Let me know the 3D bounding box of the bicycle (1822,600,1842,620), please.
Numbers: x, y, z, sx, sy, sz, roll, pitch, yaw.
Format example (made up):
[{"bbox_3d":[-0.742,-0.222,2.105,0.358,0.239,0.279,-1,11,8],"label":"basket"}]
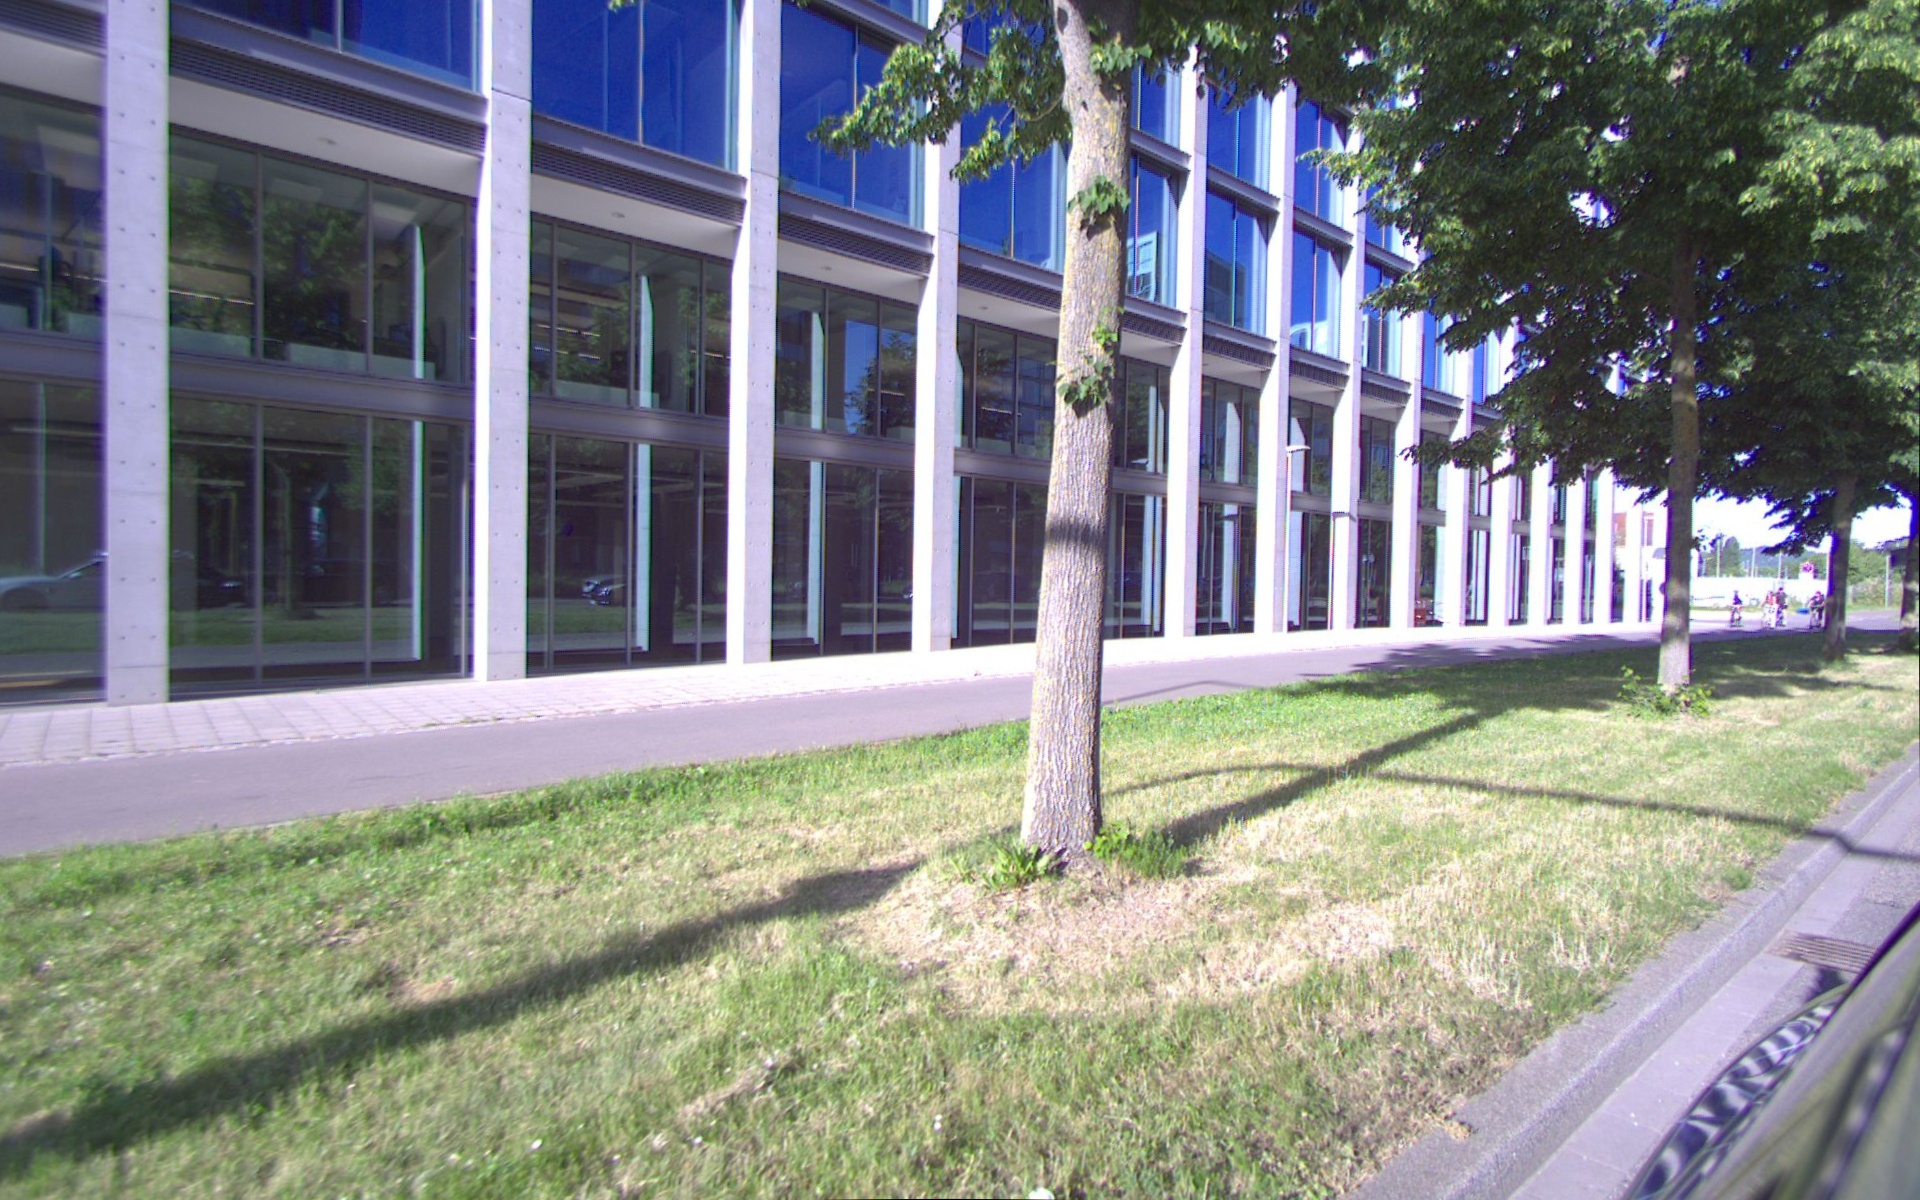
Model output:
[{"bbox_3d":[38.171,0.440,44.309,1.321,0.828,0.464,-1,1,-40],"label":"bicycle"}]

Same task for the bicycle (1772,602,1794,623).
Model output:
[{"bbox_3d":[33.891,0.502,41.689,1.321,0.828,0.464,-1,1,-40],"label":"bicycle"}]

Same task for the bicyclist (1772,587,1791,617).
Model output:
[{"bbox_3d":[33.855,0.071,41.696,0.498,1.232,0.534,-1,1,-40],"label":"bicyclist"}]

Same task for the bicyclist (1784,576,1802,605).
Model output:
[{"bbox_3d":[37.395,-0.421,45.436,0.449,1.305,0.534,-1,1,-40],"label":"bicyclist"}]

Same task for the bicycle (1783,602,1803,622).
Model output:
[{"bbox_3d":[37.342,0.532,45.348,1.321,0.828,0.464,-1,1,-40],"label":"bicycle"}]

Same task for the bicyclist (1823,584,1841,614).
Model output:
[{"bbox_3d":[38.182,-0.041,44.320,0.512,1.305,0.534,-1,1,-40],"label":"bicyclist"}]

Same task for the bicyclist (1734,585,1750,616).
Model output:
[{"bbox_3d":[32.838,0.014,42.510,0.410,1.305,0.448,-1,1,-40],"label":"bicyclist"}]

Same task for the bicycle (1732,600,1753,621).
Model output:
[{"bbox_3d":[32.890,0.440,42.544,1.297,0.828,0.415,-1,1,-40],"label":"bicycle"}]
